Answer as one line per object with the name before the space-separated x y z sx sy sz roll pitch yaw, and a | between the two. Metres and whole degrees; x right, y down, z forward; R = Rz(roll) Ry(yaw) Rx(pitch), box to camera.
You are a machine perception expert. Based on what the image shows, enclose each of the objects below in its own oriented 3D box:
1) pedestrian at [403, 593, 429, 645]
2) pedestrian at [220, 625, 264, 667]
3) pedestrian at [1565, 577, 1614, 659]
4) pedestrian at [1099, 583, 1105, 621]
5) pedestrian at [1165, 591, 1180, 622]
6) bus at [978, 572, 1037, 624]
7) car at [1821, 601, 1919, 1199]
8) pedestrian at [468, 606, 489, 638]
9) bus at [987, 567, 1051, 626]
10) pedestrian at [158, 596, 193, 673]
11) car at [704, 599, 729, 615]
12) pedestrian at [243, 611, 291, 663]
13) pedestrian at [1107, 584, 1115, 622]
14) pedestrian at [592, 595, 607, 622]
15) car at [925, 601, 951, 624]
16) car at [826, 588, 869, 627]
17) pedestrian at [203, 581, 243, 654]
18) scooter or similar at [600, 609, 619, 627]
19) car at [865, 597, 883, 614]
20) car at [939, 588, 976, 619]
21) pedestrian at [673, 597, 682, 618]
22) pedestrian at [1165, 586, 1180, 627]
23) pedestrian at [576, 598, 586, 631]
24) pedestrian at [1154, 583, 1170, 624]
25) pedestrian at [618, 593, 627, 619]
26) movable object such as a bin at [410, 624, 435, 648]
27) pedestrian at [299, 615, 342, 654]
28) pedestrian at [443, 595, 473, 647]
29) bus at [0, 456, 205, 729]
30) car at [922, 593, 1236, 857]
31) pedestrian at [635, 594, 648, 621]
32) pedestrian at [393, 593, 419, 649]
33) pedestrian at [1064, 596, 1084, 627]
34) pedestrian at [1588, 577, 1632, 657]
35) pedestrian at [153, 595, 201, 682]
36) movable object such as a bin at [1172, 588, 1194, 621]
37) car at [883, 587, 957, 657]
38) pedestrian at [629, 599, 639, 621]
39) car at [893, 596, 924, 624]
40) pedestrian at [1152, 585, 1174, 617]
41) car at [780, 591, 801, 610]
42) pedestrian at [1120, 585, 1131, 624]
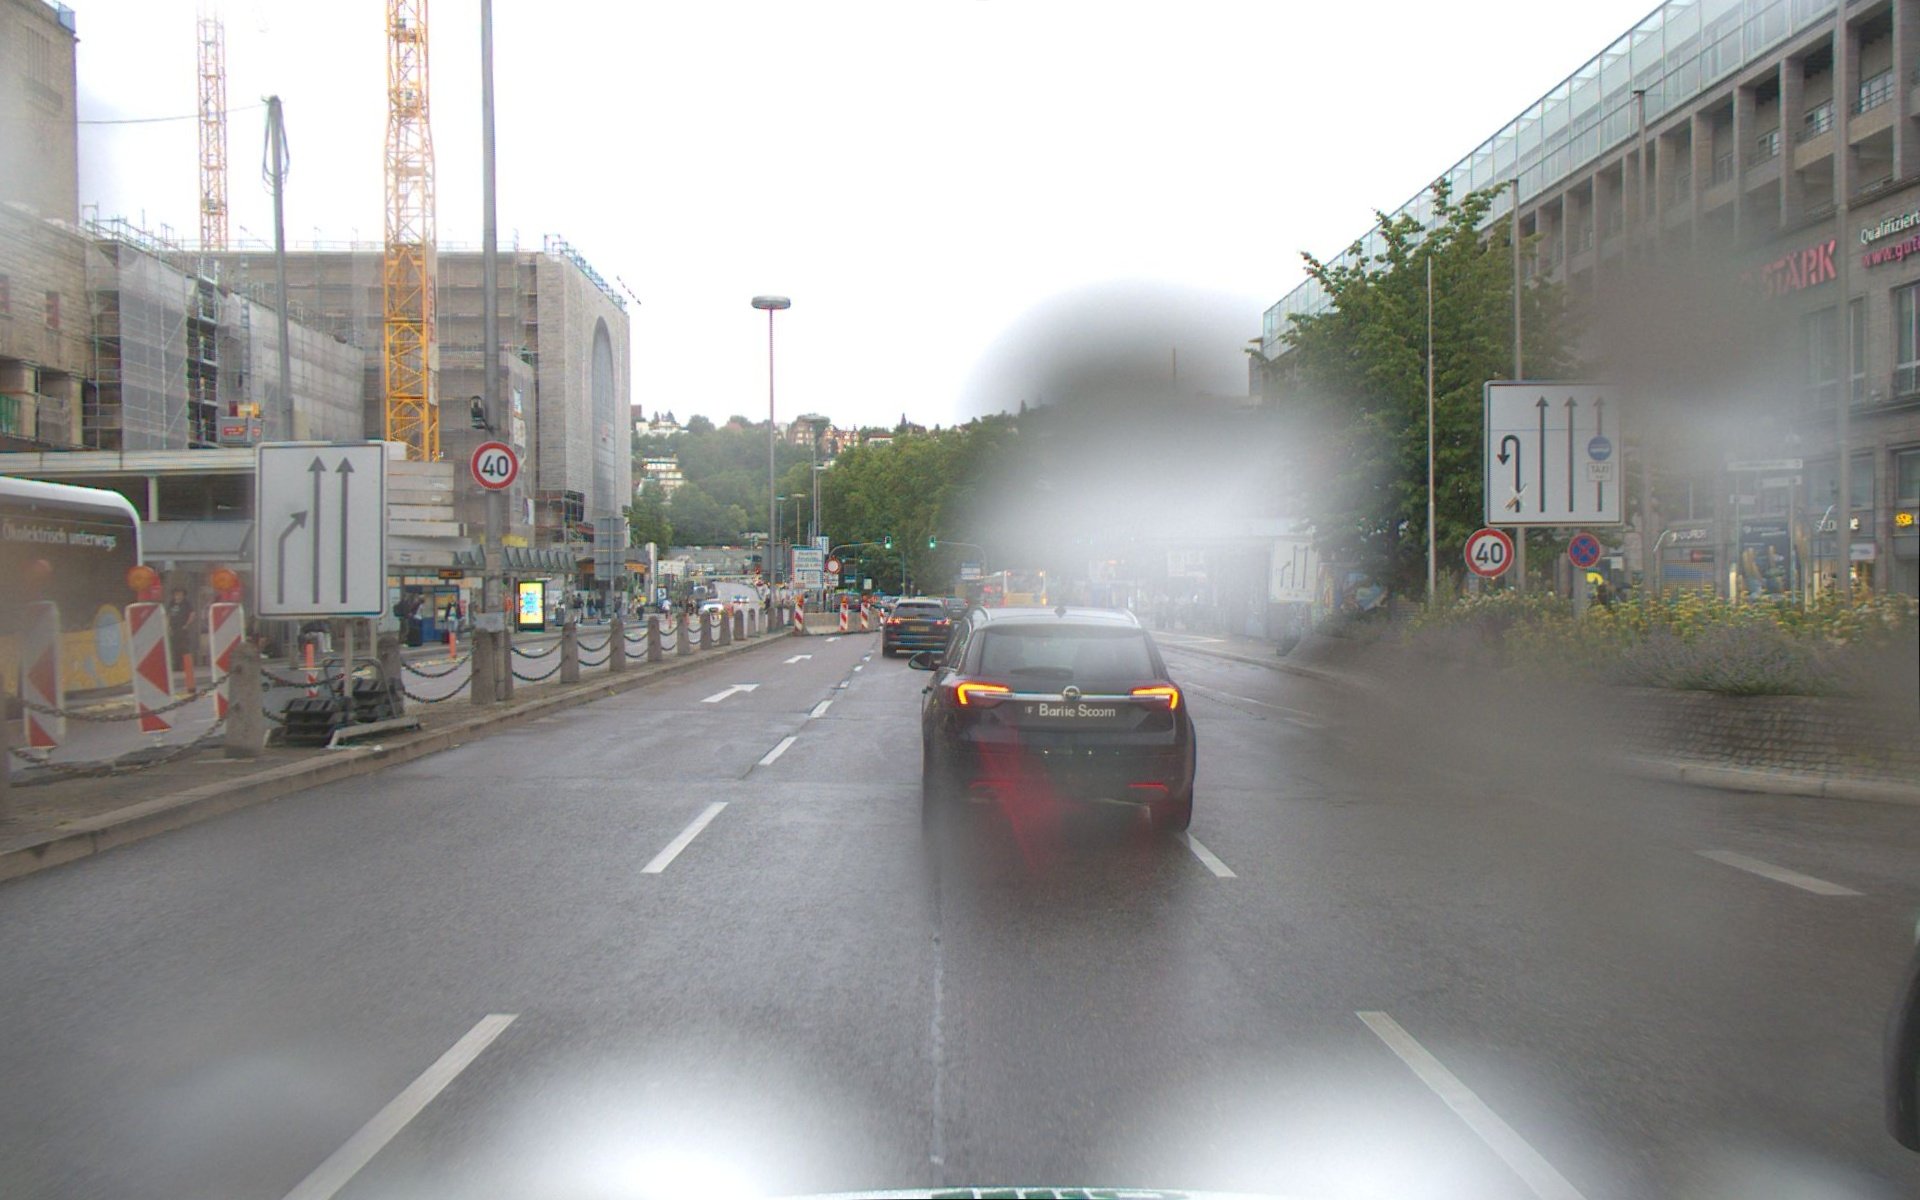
pedestrian | -19.278 0.660 58.616 0.772 1.821 0.666 0 0 -30
pedestrian | -19.544 1.258 45.035 0.827 1.112 0.925 0 0 -4
pedestrian | 13.894 0.392 36.518 0.627 1.782 1.076 0 0 -4
pedestrian | 6.942 0.113 80.912 0.238 1.869 0.512 0 0 1
pedestrian | 11.845 0.350 92.417 0.733 1.724 0.902 0 0 0
bus | 2.997 -0.090 107.979 3.051 3.261 9.235 1 0 -3
car | 3.237 0.743 2.128 1.781 1.489 4.699 0 0 -1
pedestrian | -20.399 0.926 70.058 0.685 1.349 0.805 0 0 -4
bus | 3.442 -0.182 98.826 3.078 3.304 9.130 1 0 -2
pedestrian | -18.840 0.822 39.725 0.546 1.821 0.803 0 0 -11
car | -22.981 0.645 156.404 1.954 1.493 3.998 1 -1 -3
pedestrian | -19.694 1.044 47.047 1.034 1.457 0.830 0 0 -4
pedestrian | 7.404 0.163 81.137 0.339 1.869 0.533 0 0 1
pedestrian | -25.198 0.572 115.593 0.822 1.873 1.058 0 0 1
car | -1.540 0.864 114.376 1.641 1.609 3.237 1 -1 -4
car | -5.759 0.365 85.036 1.953 1.895 4.831 -1 0 -1
pedestrian | -18.492 0.441 41.510 0.710 1.821 0.746 0 0 -8
scooter or similar | -21.363 1.079 100.799 0.450 1.084 1.237 0 0 32
car | -8.729 0.580 167.970 1.671 1.694 3.705 1 -1 -1
car | -0.166 0.207 97.256 1.816 1.747 3.996 1 -1 -5
pedestrian | -25.345 0.668 148.272 0.684 1.873 0.877 1 -1 -5
pedestrian | 9.633 0.302 74.945 0.614 1.869 0.641 0 0 0
pedestrian | -21.744 0.850 94.830 0.498 1.873 0.703 0 0 -8
pedestrian | 9.279 0.173 76.008 0.662 1.869 0.574 0 0 -1
pedestrian | -24.270 0.429 118.996 0.561 1.873 0.701 0 0 -16
movable object such as a bin | -18.447 1.222 56.751 0.502 0.803 0.630 -2 -1 42
pedestrian | -20.024 1.074 51.811 0.930 1.178 1.054 0 0 -2
pedestrian | -17.638 0.722 58.142 0.759 1.821 0.861 0 0 5
bus | -14.199 -0.077 18.310 2.850 3.640 19.076 -1 0 0
car | 0.653 0.730 12.079 1.839 1.534 4.850 0 0 -1
pedestrian | -22.652 0.542 117.577 0.861 1.873 0.835 0 0 -17
pedestrian | -18.815 0.711 56.201 0.548 1.880 0.673 -1 0 43
pedestrian | 6.298 0.621 91.576 0.749 1.720 0.992 0 0 -23
pedestrian | 14.554 0.376 37.058 0.600 1.782 0.868 0 0 -4
pedestrian | -18.150 0.887 38.354 0.744 1.993 0.822 0 -1 -5
movable object such as a bin | 11.385 0.243 84.364 0.654 1.681 1.040 0 0 -25
car | -1.042 0.546 42.874 1.793 1.715 4.132 0 0 -2
pedestrian | -25.493 0.753 129.397 0.670 1.715 0.835 0 0 -16
car | -3.782 0.741 121.142 1.945 2.049 4.363 1 -1 -6
pedestrian | 11.758 0.086 95.849 0.778 1.836 0.982 0 0 -31
car | -18.182 0.073 177.157 1.956 2.049 5.359 1 -1 -8
pedestrian | 9.474 0.261 94.862 0.578 2.254 0.587 0 0 -1
